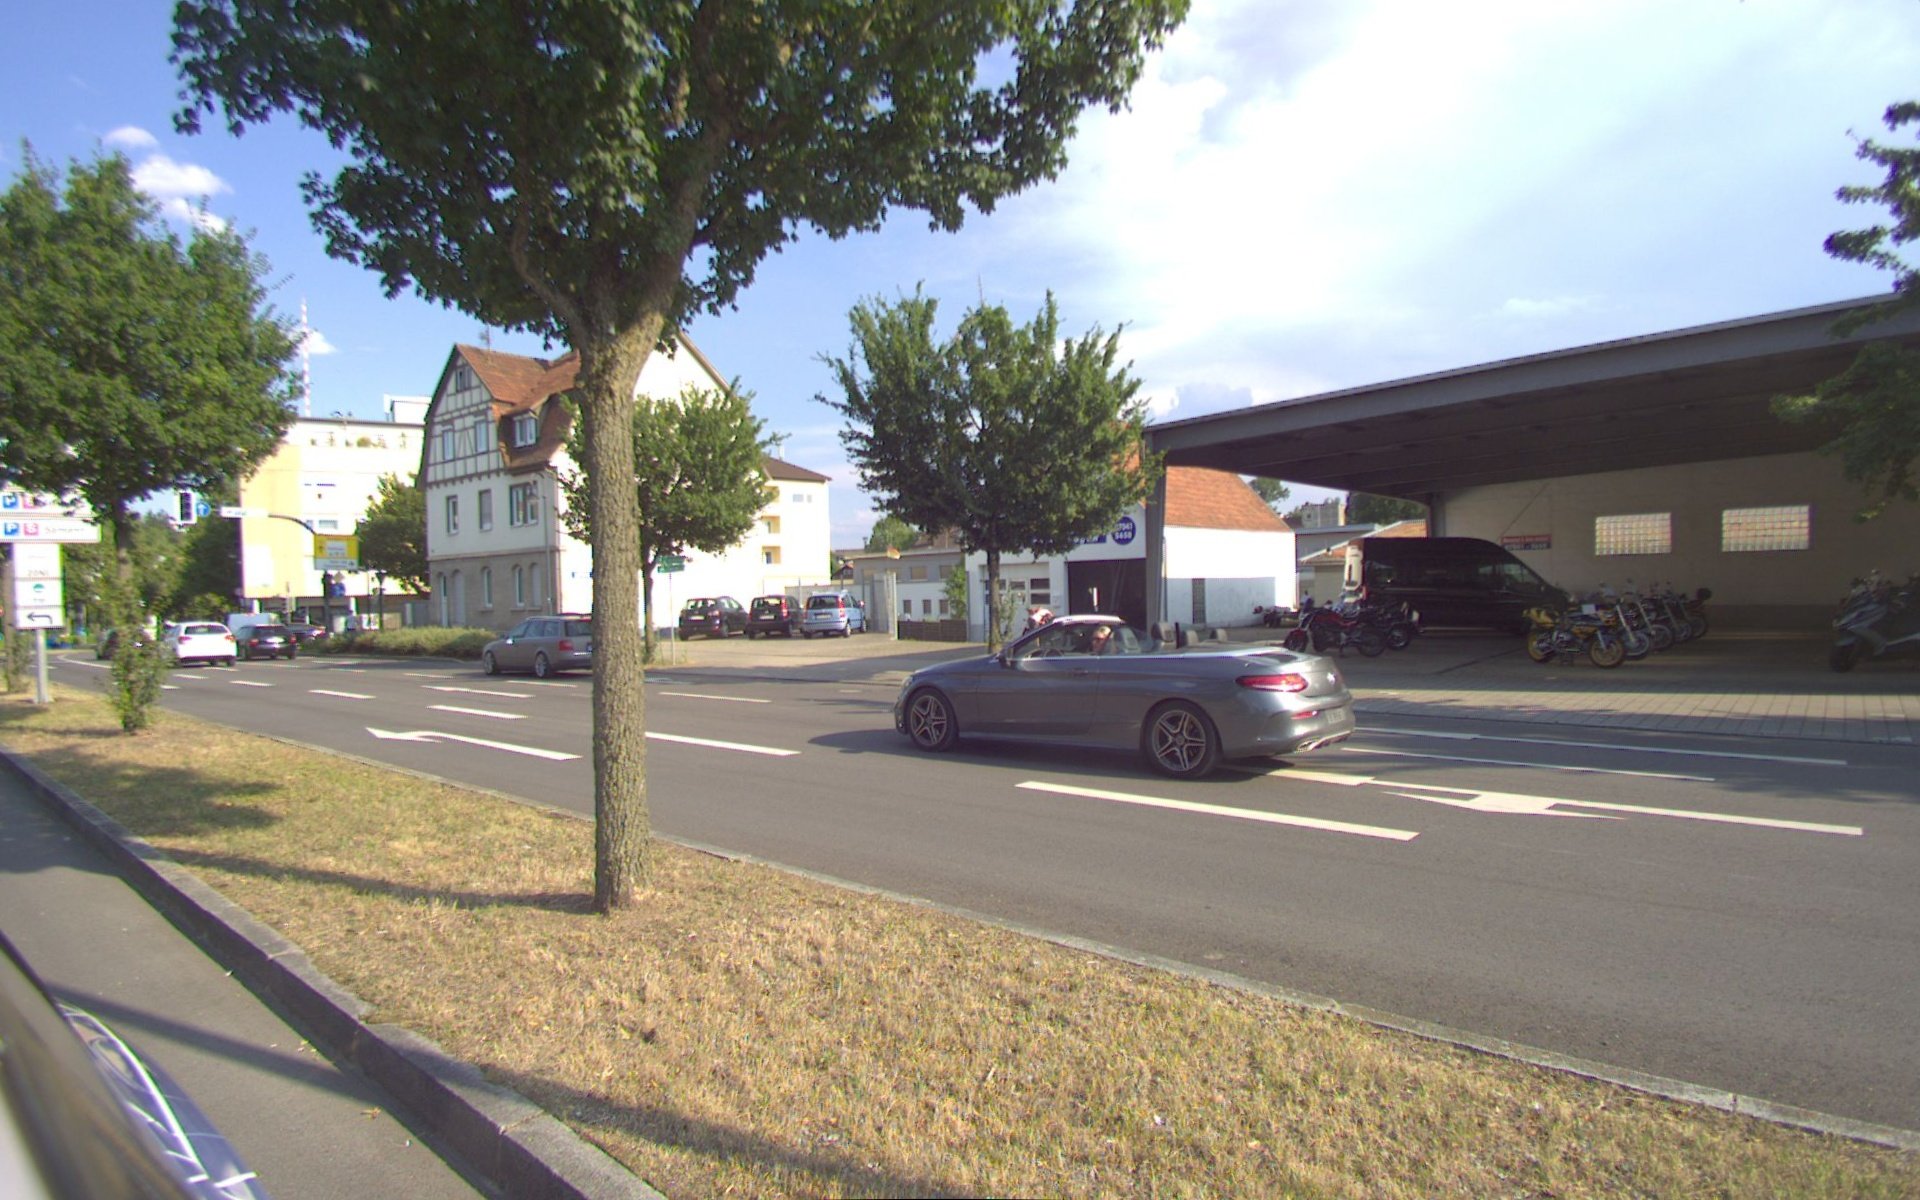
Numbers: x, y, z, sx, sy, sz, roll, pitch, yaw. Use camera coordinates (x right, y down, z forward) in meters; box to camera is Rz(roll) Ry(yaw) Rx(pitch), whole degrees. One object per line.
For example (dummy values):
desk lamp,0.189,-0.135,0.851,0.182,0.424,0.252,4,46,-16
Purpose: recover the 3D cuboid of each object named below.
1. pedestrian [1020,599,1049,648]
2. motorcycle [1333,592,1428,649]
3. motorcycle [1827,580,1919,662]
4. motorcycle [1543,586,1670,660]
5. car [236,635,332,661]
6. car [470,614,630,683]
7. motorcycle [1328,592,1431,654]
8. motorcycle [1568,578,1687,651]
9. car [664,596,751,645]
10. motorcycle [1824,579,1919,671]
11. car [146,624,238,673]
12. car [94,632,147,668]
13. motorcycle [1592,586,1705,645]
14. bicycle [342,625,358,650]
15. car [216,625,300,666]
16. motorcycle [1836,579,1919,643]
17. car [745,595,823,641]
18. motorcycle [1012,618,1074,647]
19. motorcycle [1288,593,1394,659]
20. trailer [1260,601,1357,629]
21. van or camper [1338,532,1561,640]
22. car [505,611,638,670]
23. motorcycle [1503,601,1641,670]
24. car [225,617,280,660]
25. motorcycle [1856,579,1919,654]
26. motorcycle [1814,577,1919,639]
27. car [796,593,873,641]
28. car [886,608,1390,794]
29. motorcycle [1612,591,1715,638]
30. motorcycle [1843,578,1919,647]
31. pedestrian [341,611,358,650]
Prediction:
pedestrian,2.393,0.760,32.595,0.642,1.535,0.676,-1,-1,-32
motorcycle,10.073,0.495,24.294,1.982,1.321,0.649,-1,0,5
motorcycle,15.562,0.335,16.528,2.068,1.317,0.561,-1,0,12
motorcycle,12.455,0.434,19.585,0.553,1.340,2.161,-1,0,-19
car,-40.643,2.858,60.902,4.594,1.364,1.770,-1,0,-41
car,-9.973,1.119,24.414,4.710,1.473,1.668,-1,0,42
motorcycle,9.307,0.502,22.514,1.982,1.321,0.649,-1,0,5
motorcycle,14.057,0.300,21.403,0.584,1.459,2.161,-1,0,-19
car,-9.225,0.717,37.296,1.746,1.563,3.992,-2,1,7
motorcycle,14.123,0.356,14.886,2.093,1.317,0.561,-1,0,12
car,-26.400,1.620,34.738,3.954,1.508,1.782,-1,0,42
car,-37.864,2.219,45.609,1.747,1.462,4.114,-1,-1,-41
motorcycle,15.758,0.346,23.239,0.636,1.268,2.161,-1,0,-19
bicycle,-31.589,1.938,52.404,0.670,1.231,1.518,-1,0,-31
car,-27.857,1.762,40.110,4.244,1.508,1.788,-1,0,42
motorcycle,19.634,0.221,21.075,2.068,1.317,0.561,-1,0,12
car,-6.403,0.625,37.152,1.746,1.564,3.992,-1,0,7
motorcycle,2.689,1.061,33.100,2.212,0.927,0.500,-1,-1,45
motorcycle,7.839,0.547,20.929,1.991,1.321,0.665,-1,0,18
trailer,12.762,0.549,36.961,2.449,0.831,3.152,-1,2,38
van or camper,13.082,-0.337,27.344,4.979,2.700,1.995,-1,0,8
car,-11.361,1.139,29.466,4.193,1.454,1.816,-1,3,41
motorcycle,10.741,0.601,17.869,0.620,1.132,2.161,-1,0,-19
car,-34.094,1.811,48.873,1.797,1.938,4.959,-1,-1,-30
motorcycle,17.379,0.273,18.004,2.068,1.317,0.621,-1,0,12
motorcycle,20.196,0.171,22.276,2.068,1.317,0.561,-1,0,12
car,-4.326,0.568,35.470,1.746,1.564,3.992,-1,0,7
car,1.502,0.798,9.677,4.476,1.359,1.762,-1,0,41
motorcycle,17.478,0.357,25.211,0.553,1.131,2.161,-1,0,-19
motorcycle,18.563,0.232,19.652,2.068,1.317,0.581,-1,0,12
pedestrian,-31.065,1.543,51.486,0.688,1.997,0.590,-1,-1,-31
